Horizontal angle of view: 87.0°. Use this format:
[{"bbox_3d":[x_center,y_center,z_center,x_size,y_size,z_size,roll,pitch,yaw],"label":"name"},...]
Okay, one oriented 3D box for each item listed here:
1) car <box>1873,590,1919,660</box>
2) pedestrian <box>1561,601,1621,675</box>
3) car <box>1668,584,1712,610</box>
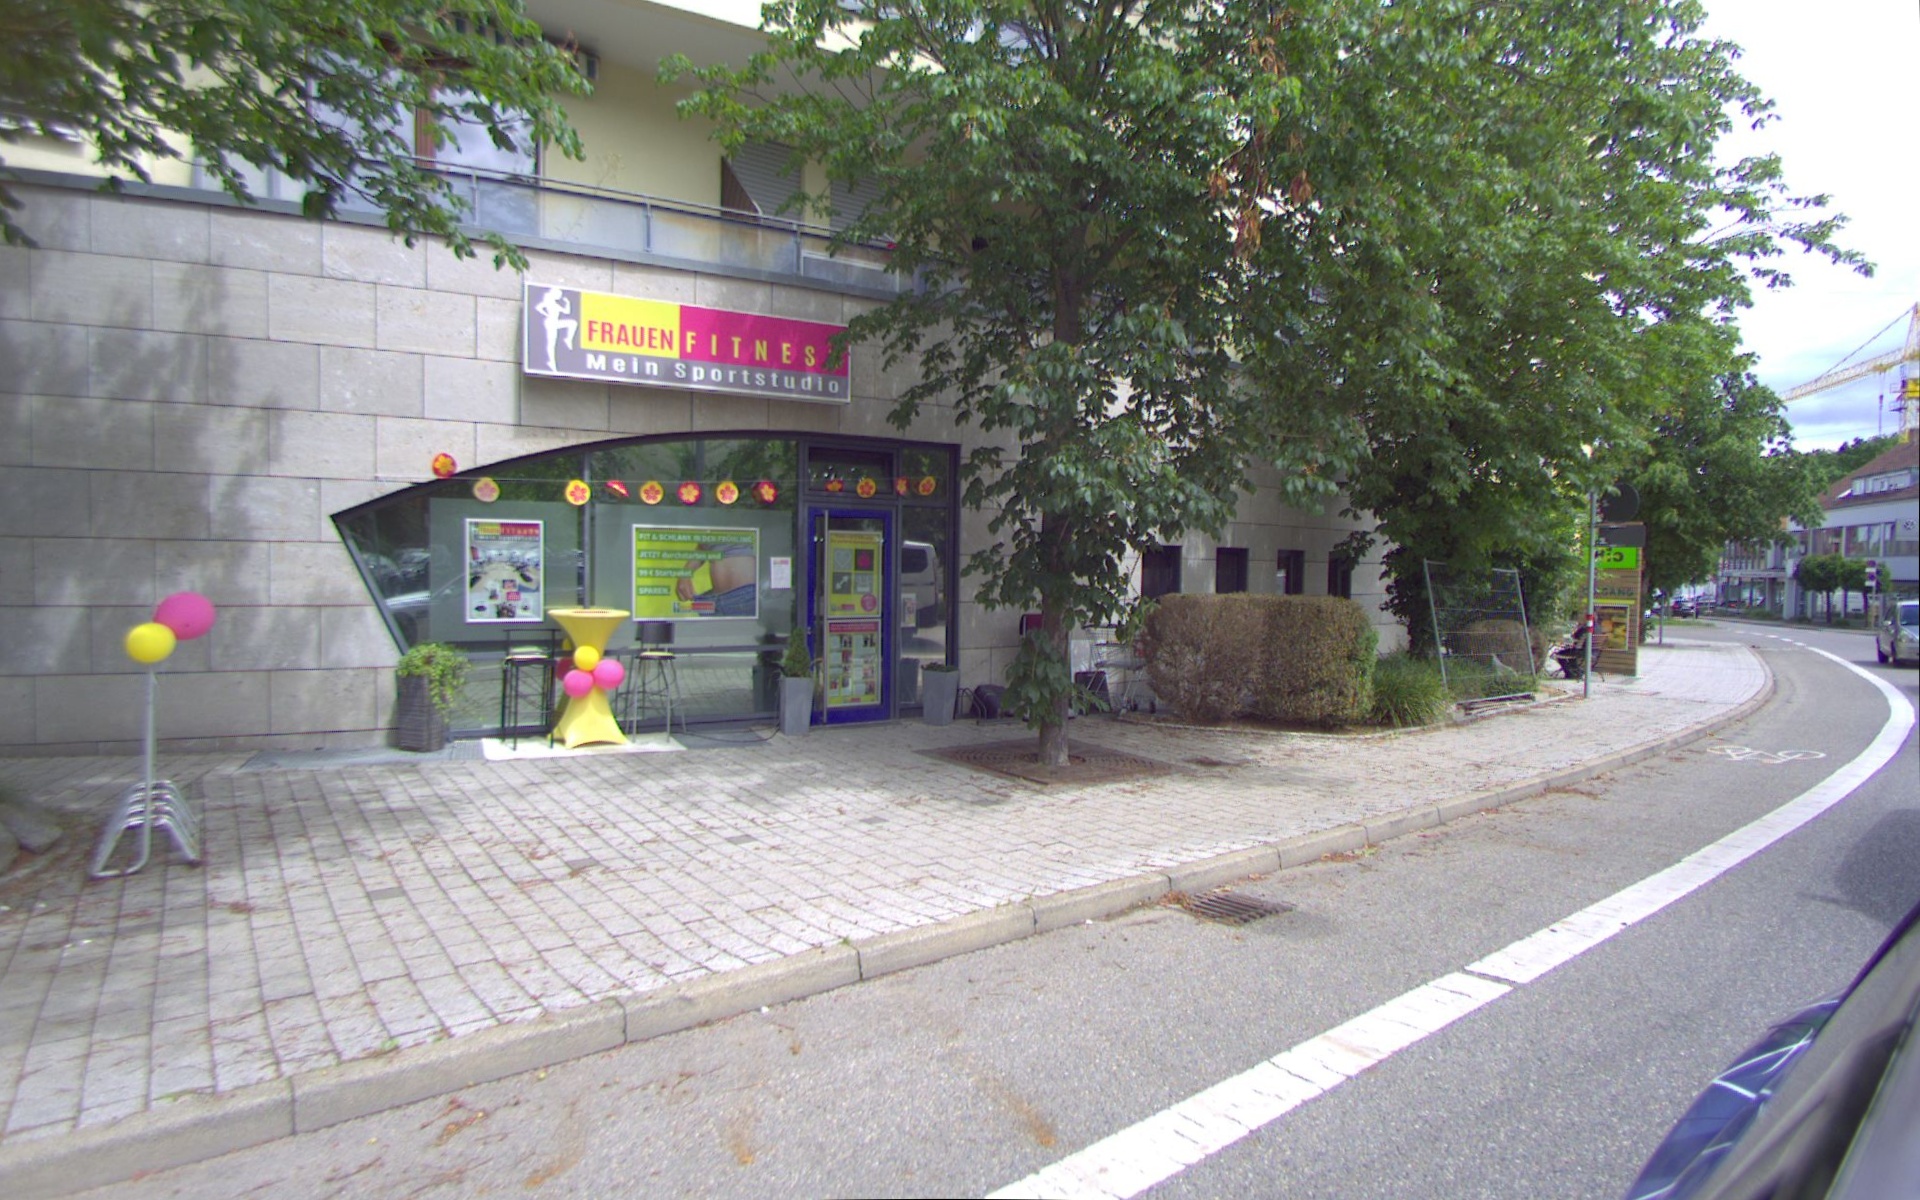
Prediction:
[{"bbox_3d":[22.613,0.536,23.461,1.684,1.505,3.949,-1,0,36],"label":"car"},{"bbox_3d":[11.784,0.698,18.906,0.741,1.317,0.730,0,2,-41],"label":"pedestrian"},{"bbox_3d":[54.431,-0.245,75.541,1.722,1.874,3.970,2,2,22],"label":"car"}]
